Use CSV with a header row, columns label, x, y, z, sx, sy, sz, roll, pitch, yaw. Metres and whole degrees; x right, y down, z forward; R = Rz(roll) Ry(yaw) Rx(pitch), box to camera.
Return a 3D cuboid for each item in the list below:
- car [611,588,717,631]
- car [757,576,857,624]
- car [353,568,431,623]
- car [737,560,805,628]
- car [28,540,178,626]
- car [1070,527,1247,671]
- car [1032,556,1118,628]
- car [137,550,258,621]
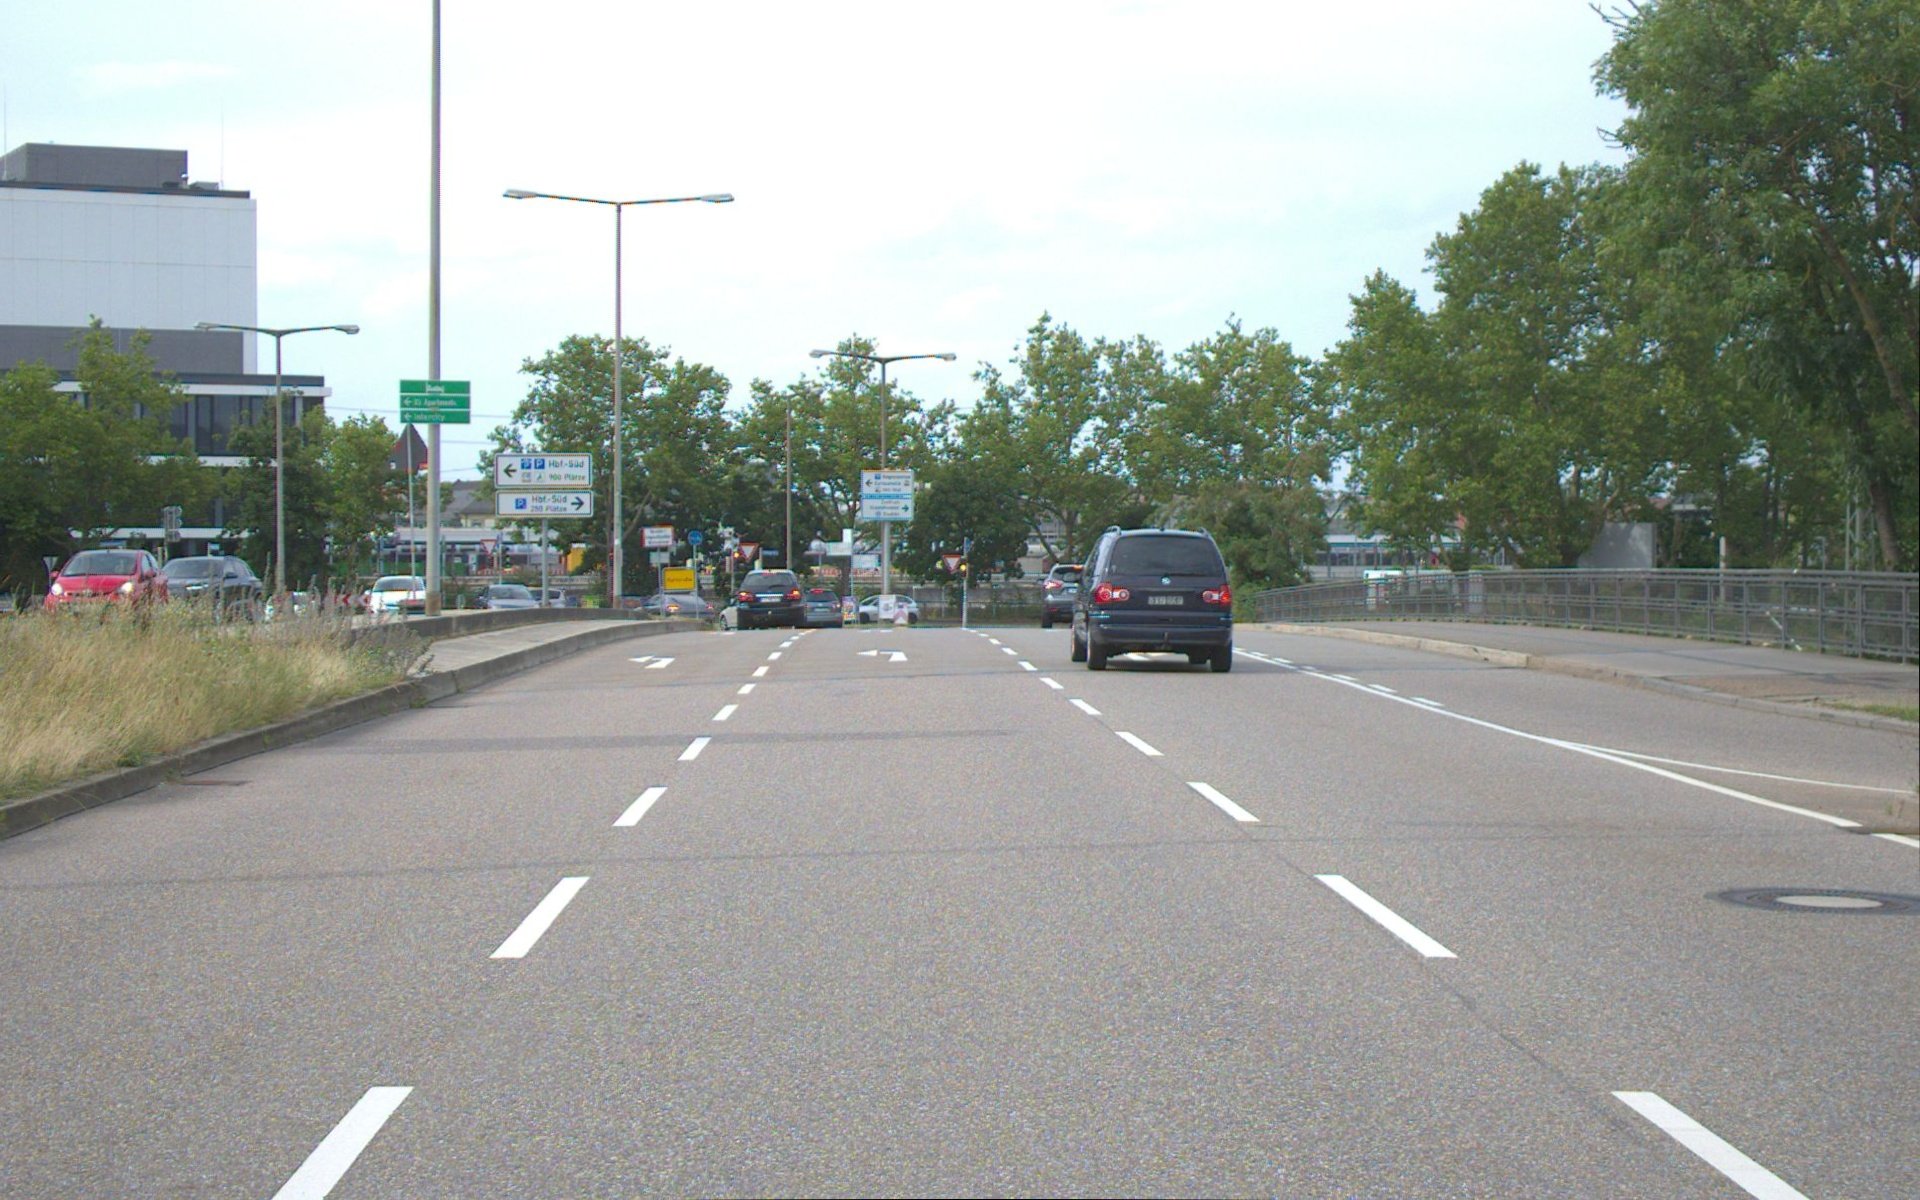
label,x,y,z,sx,sy,sz,roll,pitch,yaw
car,-10.566,0.332,122.478,3.630,1.414,1.732,3,2,42
car,-5.362,-0.018,120.373,1.730,1.521,4.115,0,2,-31
car,-15.858,-0.140,96.142,1.736,1.477,4.084,-2,1,-4
car,-4.959,-0.171,90.404,1.730,1.647,4.116,1,1,-3
car,-15.070,-0.312,60.632,1.792,1.436,3.798,-1,1,-2
car,2.421,-0.054,42.790,1.730,1.647,4.116,1,1,-3
car,2.815,-0.211,84.939,1.730,1.647,4.116,1,1,-3
car,-17.259,-0.340,77.996,1.921,1.519,4.189,-1,1,-2
